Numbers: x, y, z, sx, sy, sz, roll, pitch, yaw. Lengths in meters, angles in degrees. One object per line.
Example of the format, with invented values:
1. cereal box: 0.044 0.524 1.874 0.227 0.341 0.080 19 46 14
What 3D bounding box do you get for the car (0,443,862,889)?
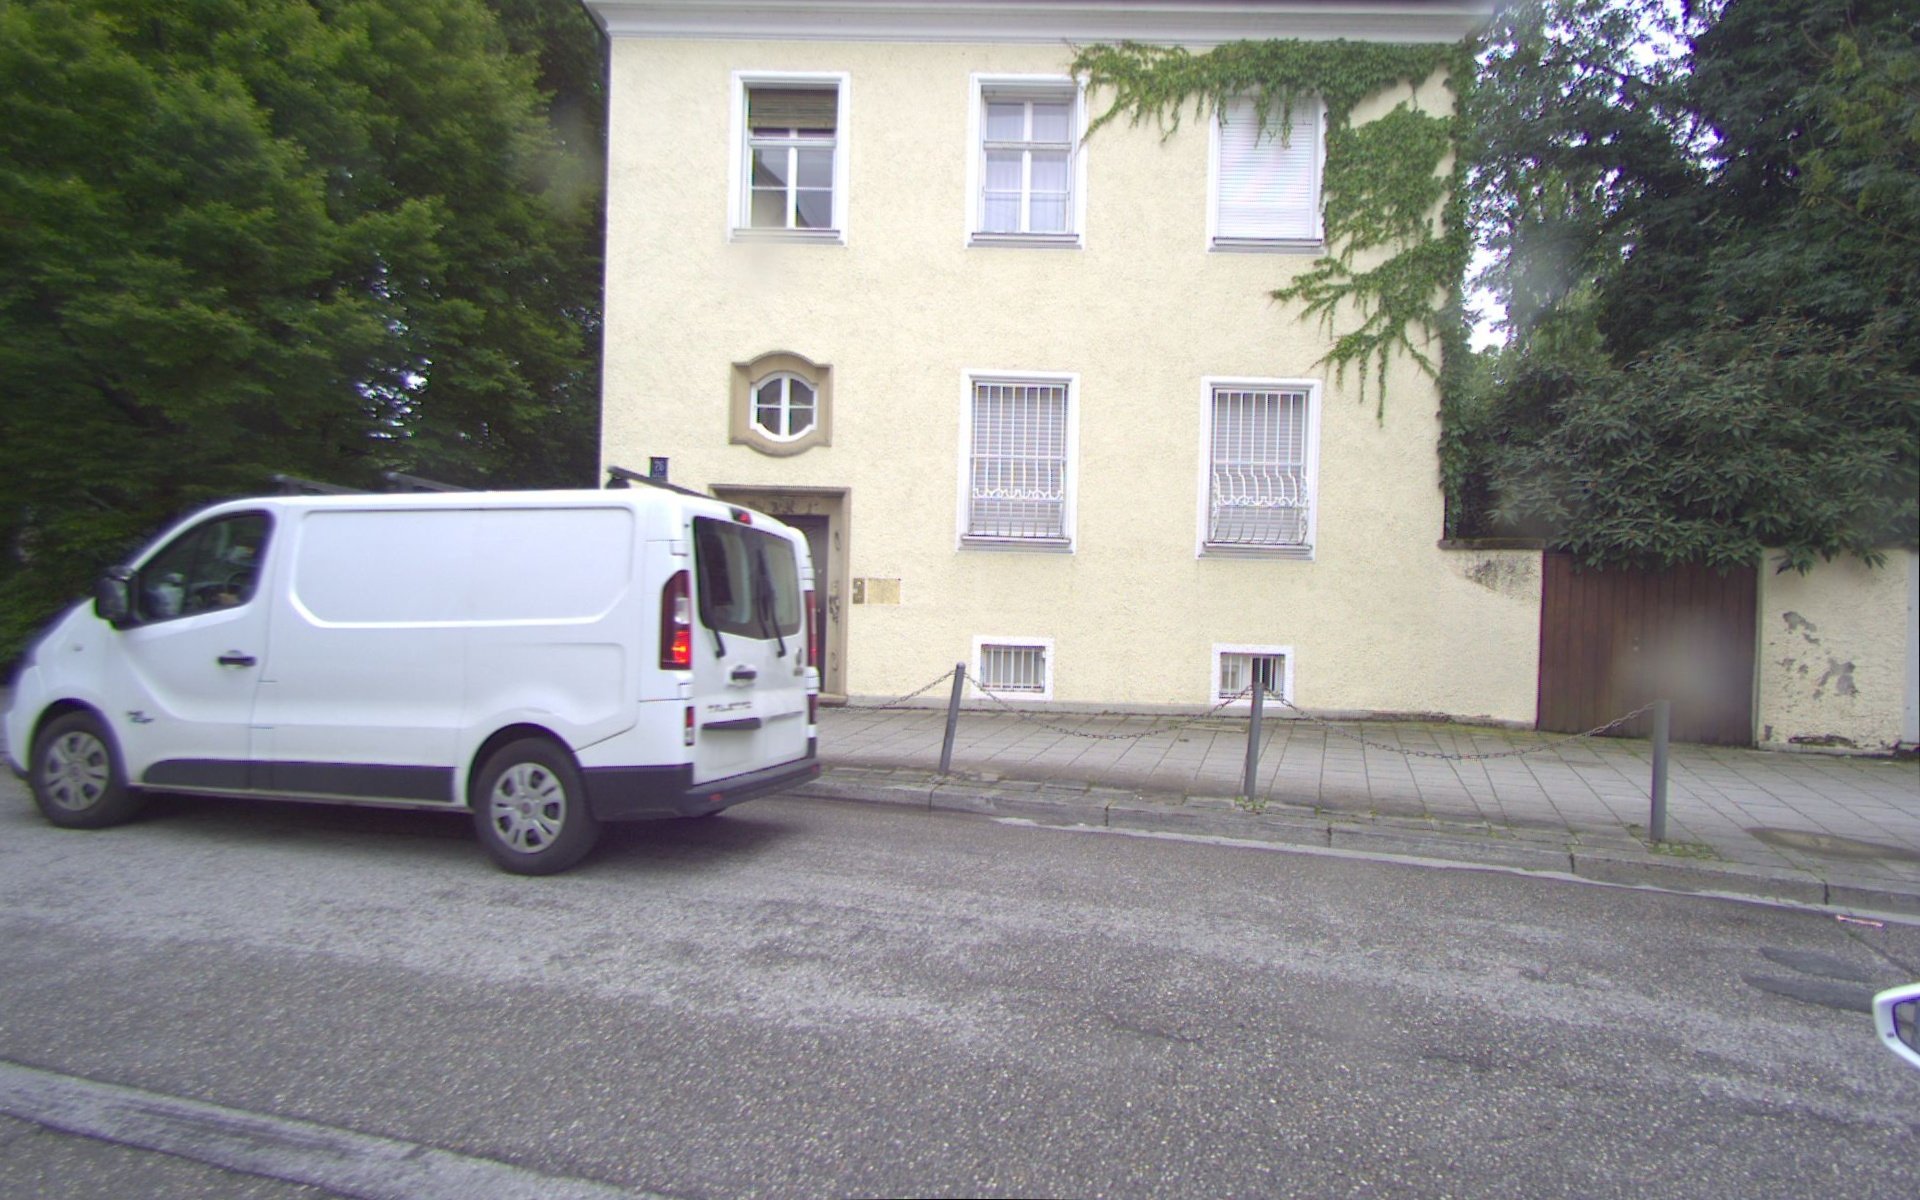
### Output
1. car: -3.283 0.282 6.236 4.857 2.068 2.048 1 -2 14
